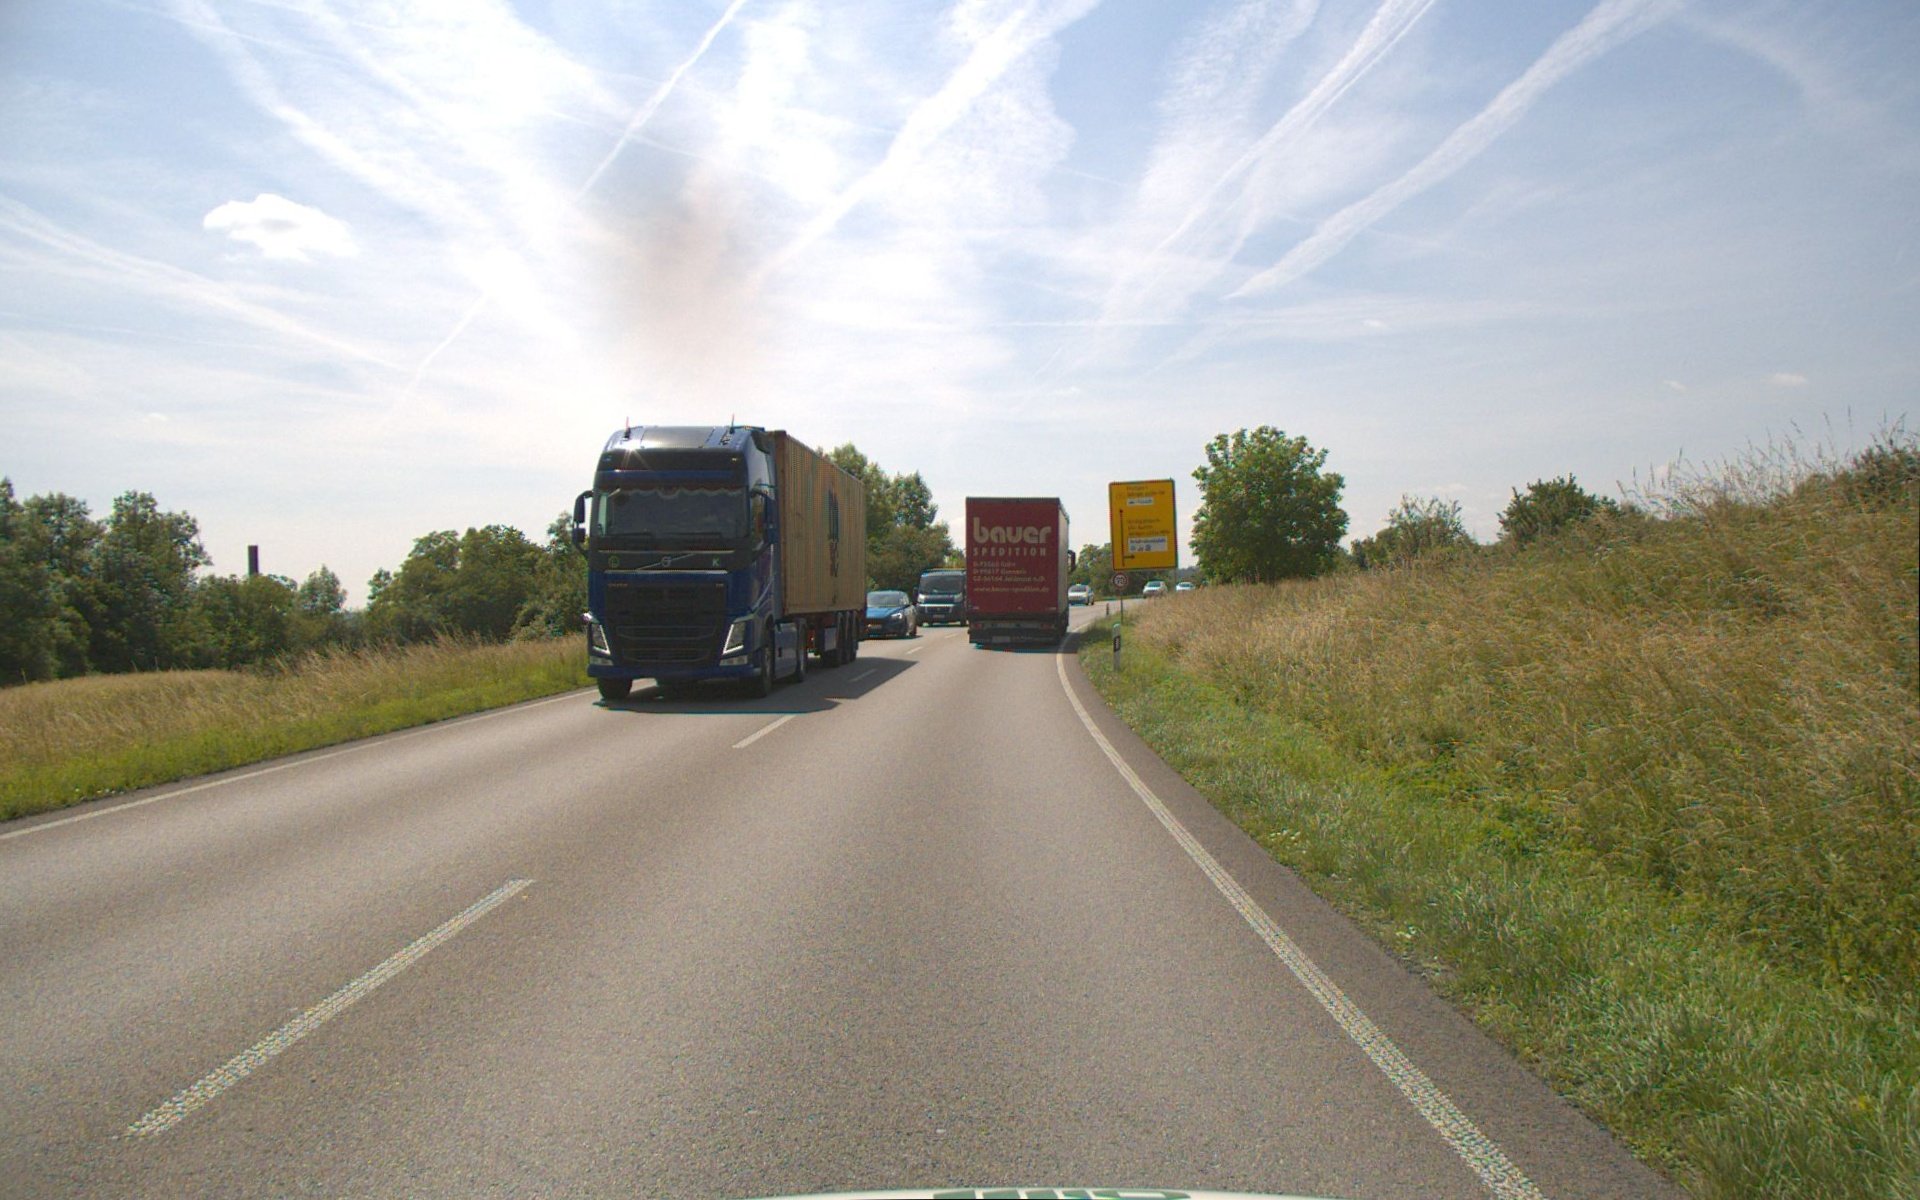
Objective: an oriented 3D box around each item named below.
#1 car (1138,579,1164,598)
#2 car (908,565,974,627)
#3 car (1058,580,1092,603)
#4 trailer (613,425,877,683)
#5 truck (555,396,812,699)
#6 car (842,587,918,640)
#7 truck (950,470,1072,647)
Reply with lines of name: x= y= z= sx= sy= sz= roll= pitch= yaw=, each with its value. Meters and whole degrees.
car: x=18.348 y=-1.158 z=158.710 sx=1.794 sy=1.645 sz=4.366 roll=-4 pitch=0 yaw=15
car: x=-0.734 y=-0.193 z=68.561 sx=2.125 sy=2.343 sz=4.910 roll=-4 pitch=0 yaw=5
car: x=8.523 y=-0.668 z=122.556 sx=1.752 sy=1.548 sz=4.164 roll=-4 pitch=0 yaw=14
trailer: x=-3.811 y=-0.794 z=33.257 sx=2.934 sy=4.114 sz=12.922 roll=-1 pitch=0 yaw=3
truck: x=-4.081 y=-0.739 z=25.791 sx=2.748 sy=4.138 sz=5.987 roll=-1 pitch=0 yaw=2
car: x=-2.513 y=0.412 z=53.214 sx=1.824 sy=1.511 sz=4.361 roll=-4 pitch=0 yaw=4
truck: x=1.743 y=-1.098 z=49.465 sx=3.047 sy=4.584 sz=12.173 roll=1 pitch=0 yaw=4
